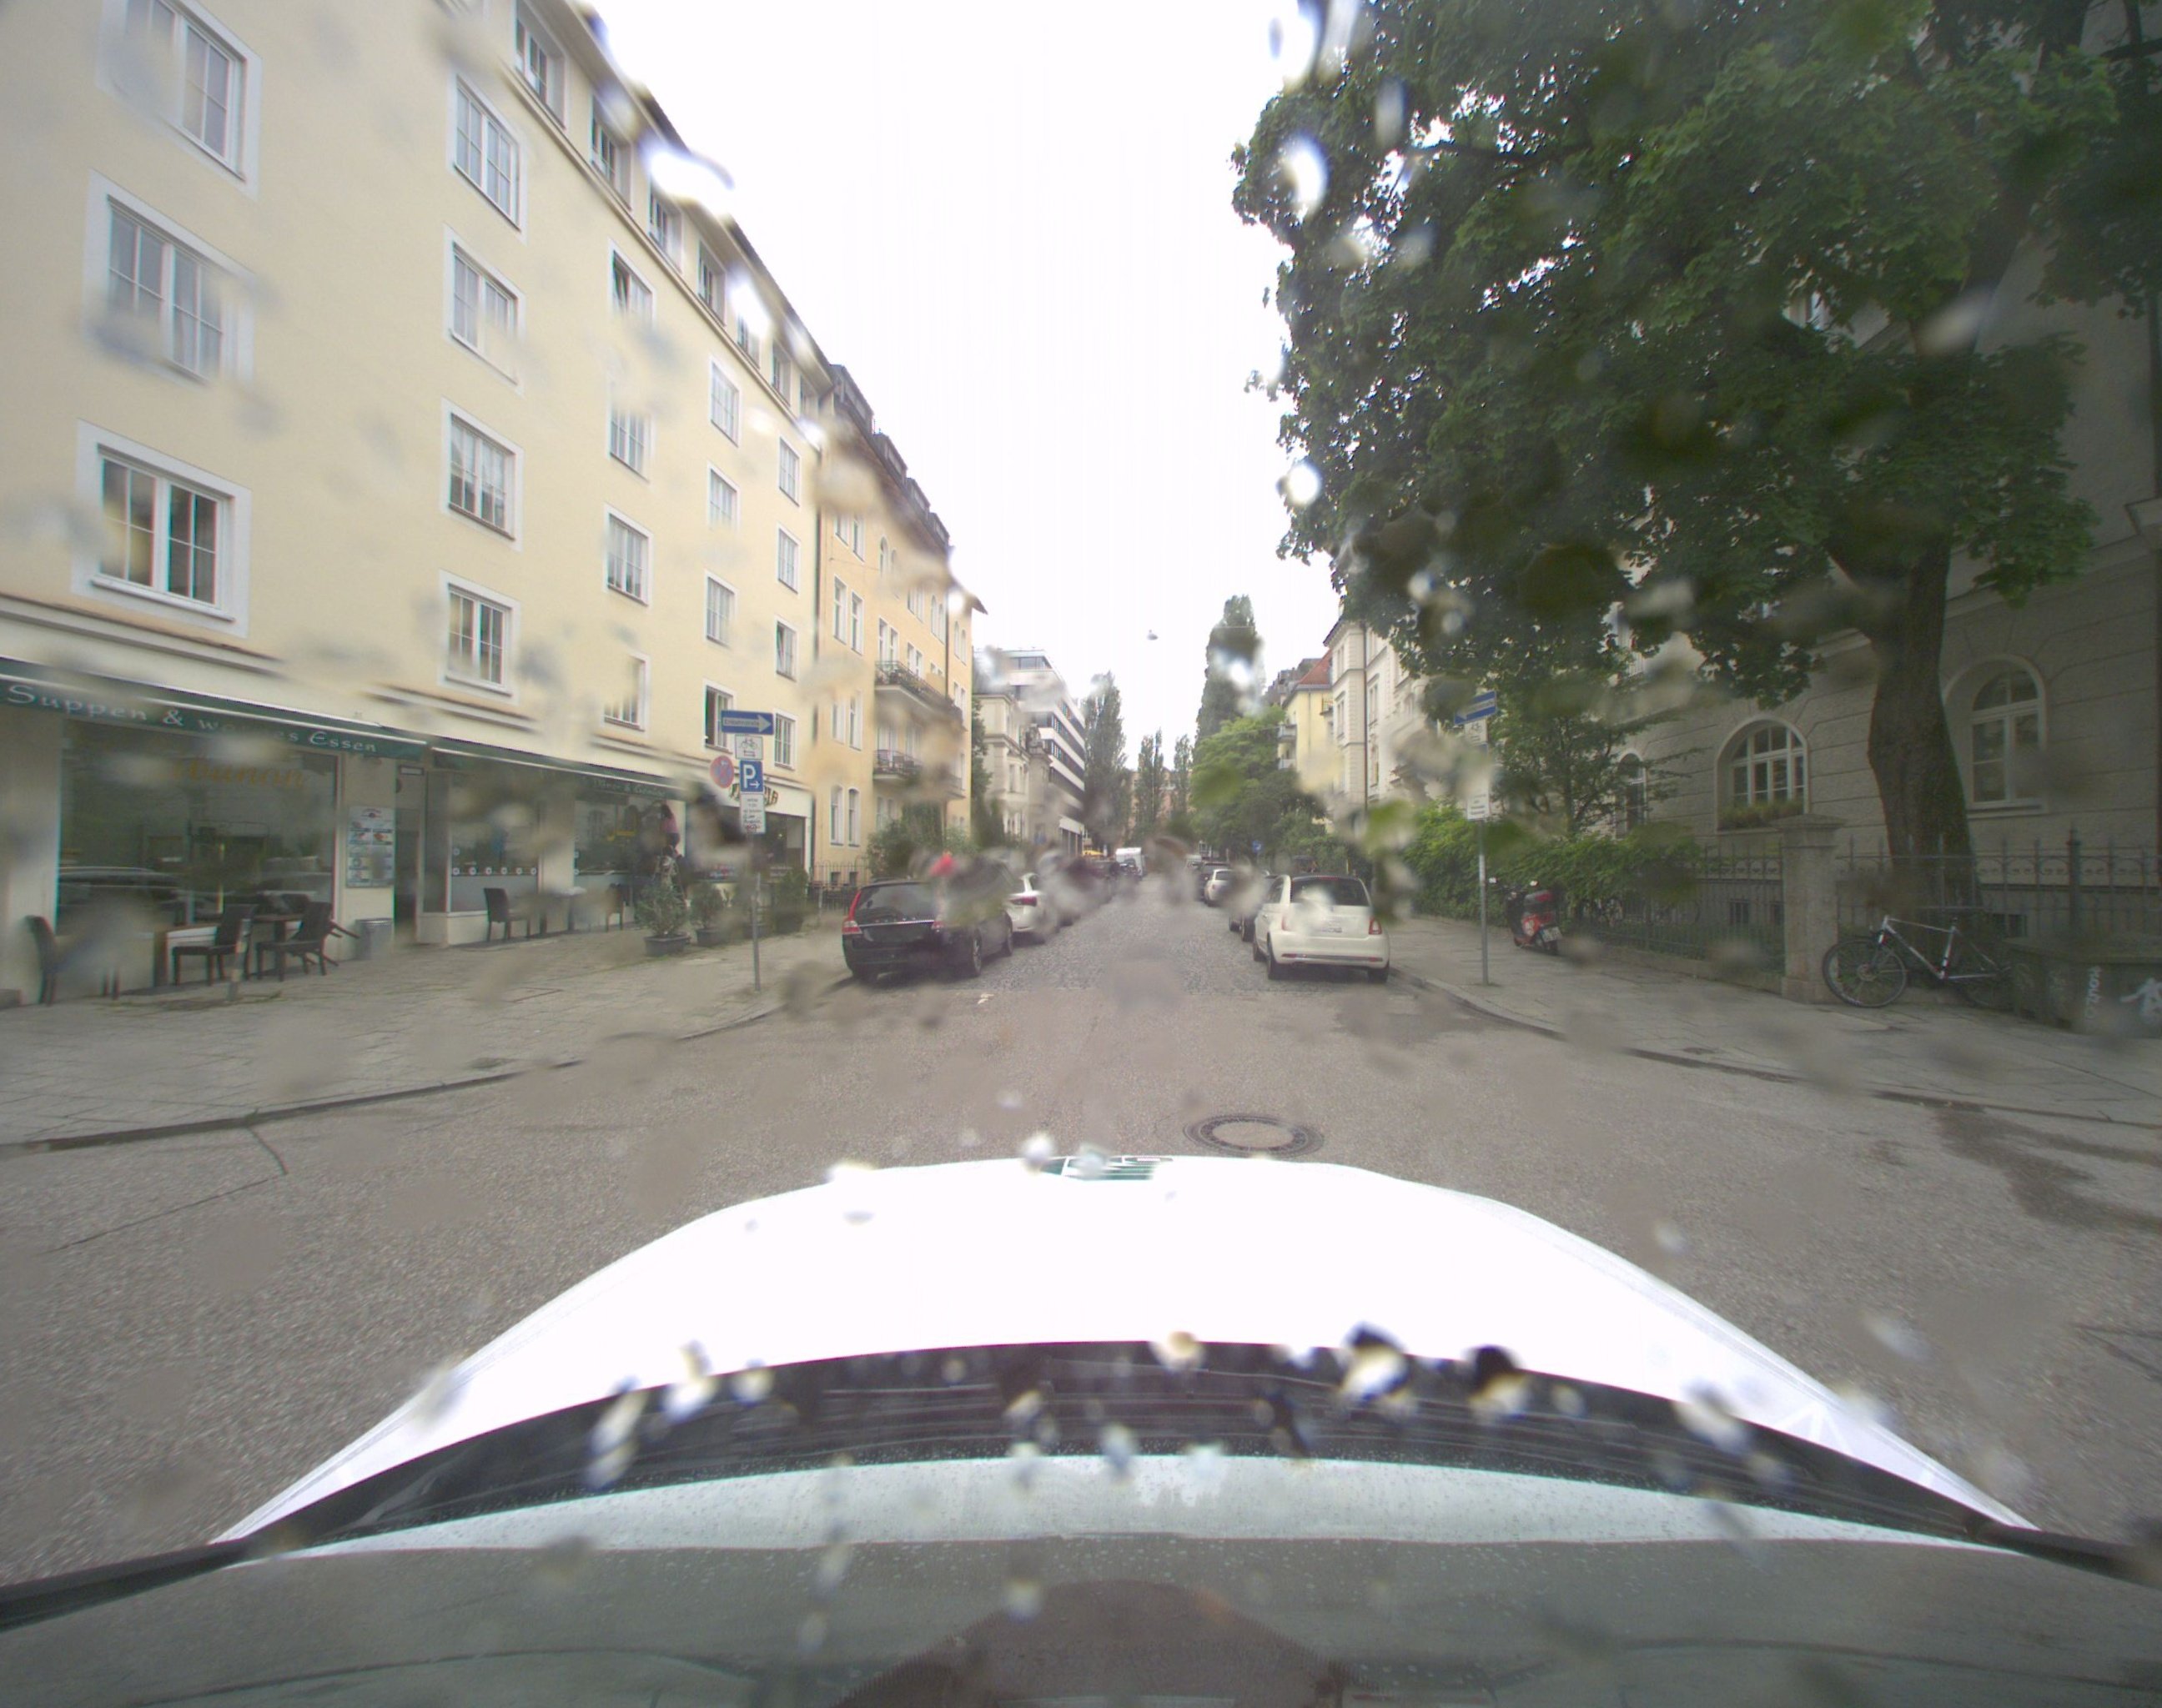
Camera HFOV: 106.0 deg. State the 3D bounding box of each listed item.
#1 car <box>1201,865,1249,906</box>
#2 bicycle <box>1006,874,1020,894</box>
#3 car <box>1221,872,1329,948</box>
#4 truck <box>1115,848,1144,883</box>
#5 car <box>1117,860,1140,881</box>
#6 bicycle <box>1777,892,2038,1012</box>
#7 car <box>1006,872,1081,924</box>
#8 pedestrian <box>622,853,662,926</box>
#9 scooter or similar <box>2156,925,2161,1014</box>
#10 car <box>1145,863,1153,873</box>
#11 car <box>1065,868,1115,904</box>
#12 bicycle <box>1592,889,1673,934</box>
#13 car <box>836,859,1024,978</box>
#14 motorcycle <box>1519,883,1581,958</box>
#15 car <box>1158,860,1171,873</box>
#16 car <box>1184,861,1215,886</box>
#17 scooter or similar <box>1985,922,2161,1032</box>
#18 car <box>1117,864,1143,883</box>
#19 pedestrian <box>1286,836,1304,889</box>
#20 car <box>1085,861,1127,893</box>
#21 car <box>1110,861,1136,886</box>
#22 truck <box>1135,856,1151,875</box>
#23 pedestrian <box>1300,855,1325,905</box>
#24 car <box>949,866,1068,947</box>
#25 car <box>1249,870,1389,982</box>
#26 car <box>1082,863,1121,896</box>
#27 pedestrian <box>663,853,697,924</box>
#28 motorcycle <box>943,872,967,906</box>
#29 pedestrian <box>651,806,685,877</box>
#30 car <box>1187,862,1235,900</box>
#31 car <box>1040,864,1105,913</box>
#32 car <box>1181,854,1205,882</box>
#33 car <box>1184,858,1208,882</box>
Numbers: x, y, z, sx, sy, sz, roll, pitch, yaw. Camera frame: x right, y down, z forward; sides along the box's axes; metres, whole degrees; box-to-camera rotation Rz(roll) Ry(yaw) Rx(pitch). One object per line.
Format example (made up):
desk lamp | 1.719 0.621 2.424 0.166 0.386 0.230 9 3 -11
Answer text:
car | 5.772 1.241 32.998 1.622 1.469 3.664 2 -1 6
bicycle | -3.432 1.524 41.253 0.350 1.003 1.576 0 -1 7
car | 4.259 1.163 18.529 1.640 1.422 4.638 3 -1 5
truck | 4.594 1.056 76.460 2.496 3.032 6.393 -2 -1 5
car | 4.117 1.429 70.058 1.885 1.751 4.172 -1 -1 4
bicycle | 8.375 0.962 8.331 1.824 1.124 0.565 -1 -1 15
car | -0.974 1.201 23.497 1.766 1.359 4.393 0 -1 2
pedestrian | -9.970 0.796 18.509 0.519 1.642 0.630 0 -1 5
scooter or similar | 10.496 1.062 7.069 1.228 0.826 0.699 0 -1 15
car | 10.969 2.274 130.901 1.270 1.541 3.123 0 -1 6
car | 0.457 1.338 35.355 1.765 1.429 4.398 0 -1 6
bicycle | 11.222 1.143 16.669 0.488 0.812 2.280 0 -1 10
car | -2.205 0.919 13.360 1.843 1.586 4.753 0 -1 4
motorcycle | 7.389 1.022 12.883 0.360 1.090 1.407 0 -1 9
car | 12.843 1.967 125.070 1.986 1.936 4.008 0 -1 7
car | 8.523 1.401 58.793 1.953 1.759 4.961 0 -1 5
scooter or similar | 9.178 1.074 7.264 1.174 0.848 0.928 0 -1 15
car | 3.927 1.534 65.105 1.931 1.459 4.063 0 -1 5
pedestrian | 7.672 0.305 29.210 0.571 1.850 0.684 0 -1 13
car | 1.494 1.265 46.741 1.972 1.737 4.730 0 0 6
car | 3.143 1.416 59.924 1.765 1.718 4.397 0 -1 5
truck | 7.984 1.461 104.998 1.983 2.347 4.074 0 -1 6
pedestrian | 8.405 0.933 29.556 0.629 1.808 0.656 1 -2 -17
car | -1.468 1.073 18.196 1.765 1.536 4.547 -2 -1 6
car | 3.523 0.987 12.627 1.494 1.471 3.802 0 -1 7
car | 1.101 1.297 41.850 1.571 1.590 4.063 -2 -2 6
pedestrian | -9.756 0.828 19.814 0.459 1.690 0.575 0 -1 6
motorcycle | -4.543 1.236 29.376 0.488 1.194 1.581 0 -1 5
pedestrian | -9.715 -0.294 19.186 0.474 1.642 0.498 0 -2 10
car | 6.023 1.231 38.295 1.866 1.673 5.498 0 -1 5
car | -0.224 1.194 29.446 1.764 1.648 4.399 0 -1 7
car | 10.601 1.269 77.152 1.886 2.426 5.619 4 0 5
car | 10.031 1.413 71.514 1.791 1.950 4.867 3 -1 5
